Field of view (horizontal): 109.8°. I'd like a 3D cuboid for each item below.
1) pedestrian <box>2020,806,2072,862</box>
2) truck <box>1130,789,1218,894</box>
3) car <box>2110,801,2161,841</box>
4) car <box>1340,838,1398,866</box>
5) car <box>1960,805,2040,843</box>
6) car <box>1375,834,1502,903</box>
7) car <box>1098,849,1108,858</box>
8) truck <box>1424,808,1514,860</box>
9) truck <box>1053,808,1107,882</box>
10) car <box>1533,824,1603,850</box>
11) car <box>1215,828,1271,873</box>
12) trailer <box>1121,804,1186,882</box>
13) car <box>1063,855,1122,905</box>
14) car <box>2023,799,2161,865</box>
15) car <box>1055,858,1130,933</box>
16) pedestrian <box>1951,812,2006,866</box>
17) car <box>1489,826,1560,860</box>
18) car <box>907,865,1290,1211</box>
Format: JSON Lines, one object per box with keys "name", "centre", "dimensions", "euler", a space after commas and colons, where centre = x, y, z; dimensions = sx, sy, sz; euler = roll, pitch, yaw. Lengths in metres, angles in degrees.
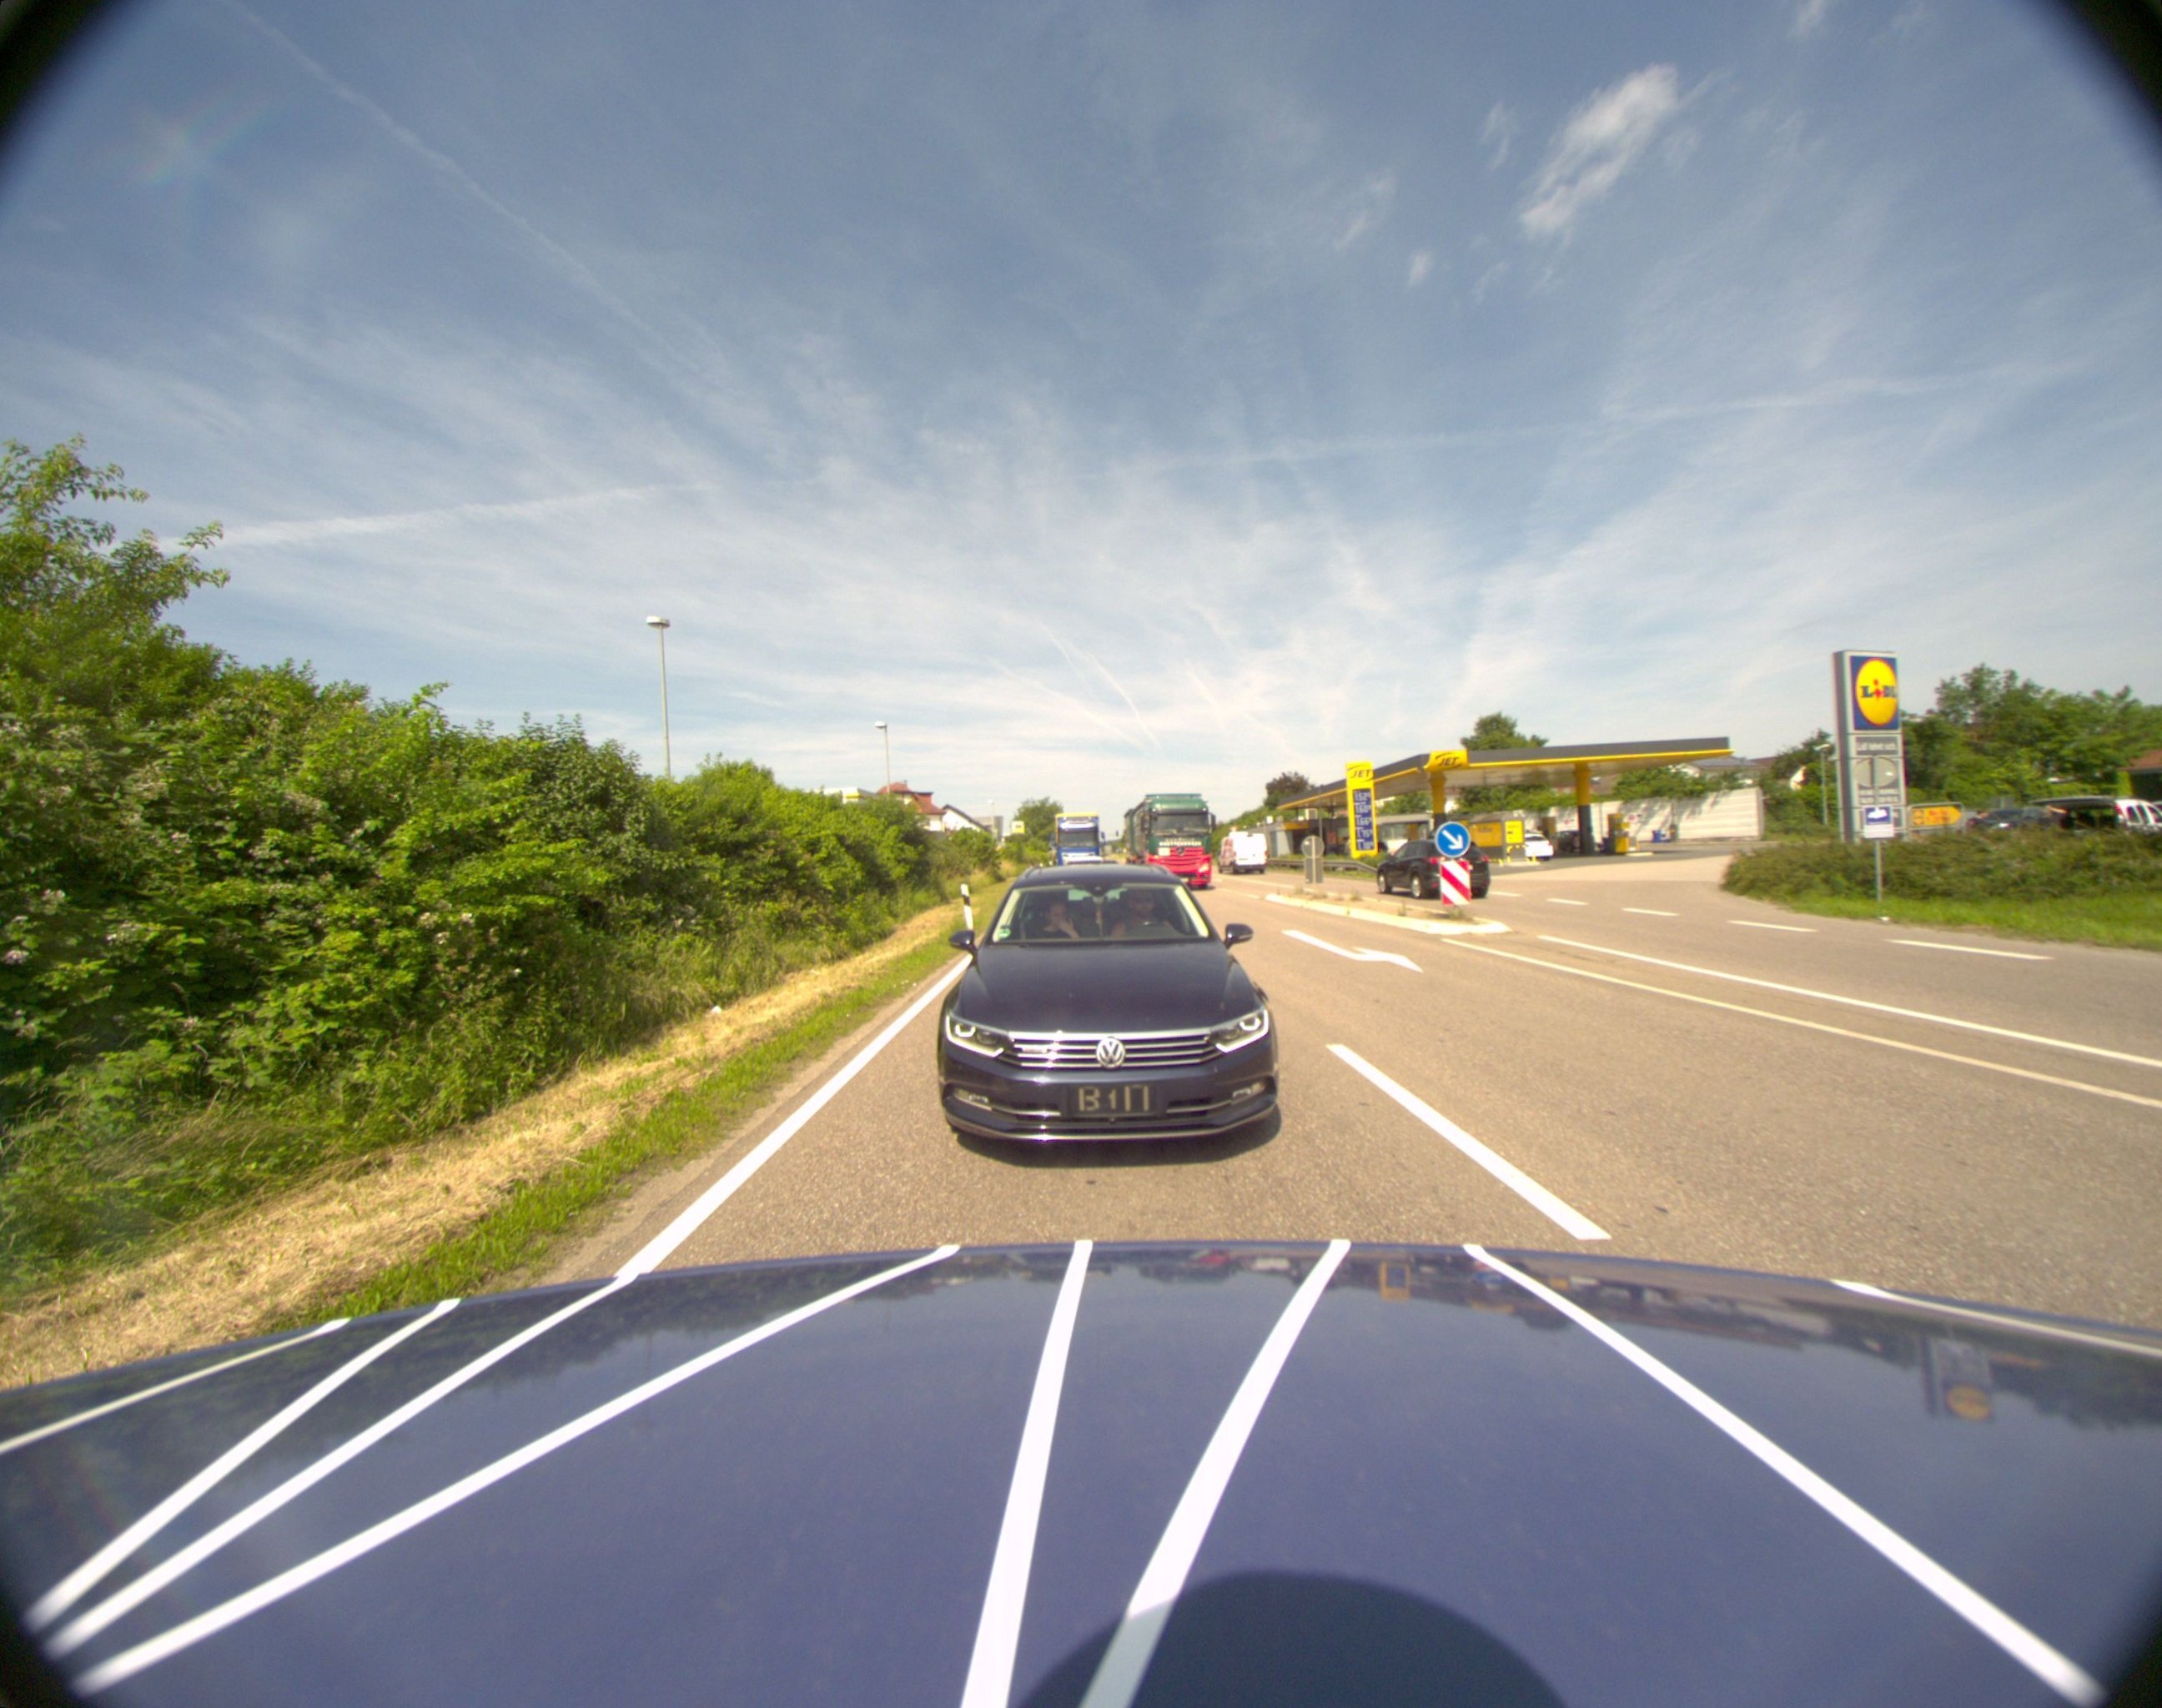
{"name": "pedestrian", "centre": [27.876, -0.576, 21.956], "dimensions": [0.705, 1.566, 0.807], "euler": [-3, 2, -27]}
{"name": "truck", "centre": [3.884, -0.506, 34.078], "dimensions": [2.675, 3.897, 10.049], "euler": [-2, 0, 0]}
{"name": "car", "centre": [44.667, -1.433, 30.786], "dimensions": [3.999, 1.531, 1.769], "euler": [-3, 0, -7]}
{"name": "car", "centre": [19.031, -0.133, 50.418], "dimensions": [1.999, 1.696, 4.263], "euler": [-2, 0, -3]}
{"name": "car", "centre": [41.555, -1.366, 34.338], "dimensions": [4.006, 1.531, 1.766], "euler": [-3, 0, -32]}
{"name": "car", "centre": [10.107, 0.361, 21.865], "dimensions": [1.871, 1.740, 4.110], "euler": [-2, 1, 3]}
{"name": "car", "centre": [4.052, -0.056, 139.386], "dimensions": [1.819, 1.626, 3.893], "euler": [-2, 0, 1]}
{"name": "truck", "centre": [23.844, -1.185, 47.032], "dimensions": [2.250, 2.906, 6.282], "euler": [-2, 1, -1]}
{"name": "truck", "centre": [0.047, -0.543, 48.971], "dimensions": [2.855, 3.999, 12.916], "euler": [-2, 0, 1]}
{"name": "car", "centre": [32.187, -1.095, 50.338], "dimensions": [1.753, 1.603, 3.873], "euler": [-2, 0, -10]}
{"name": "car", "centre": [10.404, -0.214, 49.385], "dimensions": [2.123, 2.639, 5.985], "euler": [-3, 0, -1]}
{"name": "trailer", "centre": [3.962, -0.576, 43.444], "dimensions": [2.808, 3.897, 8.669], "euler": [-2, 0, 0]}
{"name": "car", "centre": [0.399, 0.823, 25.896], "dimensions": [1.814, 1.466, 3.973], "euler": [-2, 0, 1]}
{"name": "car", "centre": [30.682, -0.669, 22.829], "dimensions": [4.172, 1.801, 1.877], "euler": [-3, 1, -23]}
{"name": "car", "centre": [0.266, 0.863, 17.411], "dimensions": [1.471, 1.451, 3.797], "euler": [-2, 0, 1]}
{"name": "pedestrian", "centre": [27.100, -0.451, 22.959], "dimensions": [0.703, 1.566, 0.810], "euler": [-2, 0, 13]}
{"name": "car", "centre": [24.237, -0.575, 41.640], "dimensions": [1.736, 1.718, 4.001], "euler": [-1, 0, 3]}
{"name": "car", "centre": [0.121, 0.906, 6.040], "dimensions": [1.756, 1.493, 4.925], "euler": [-2, 0, 1]}
